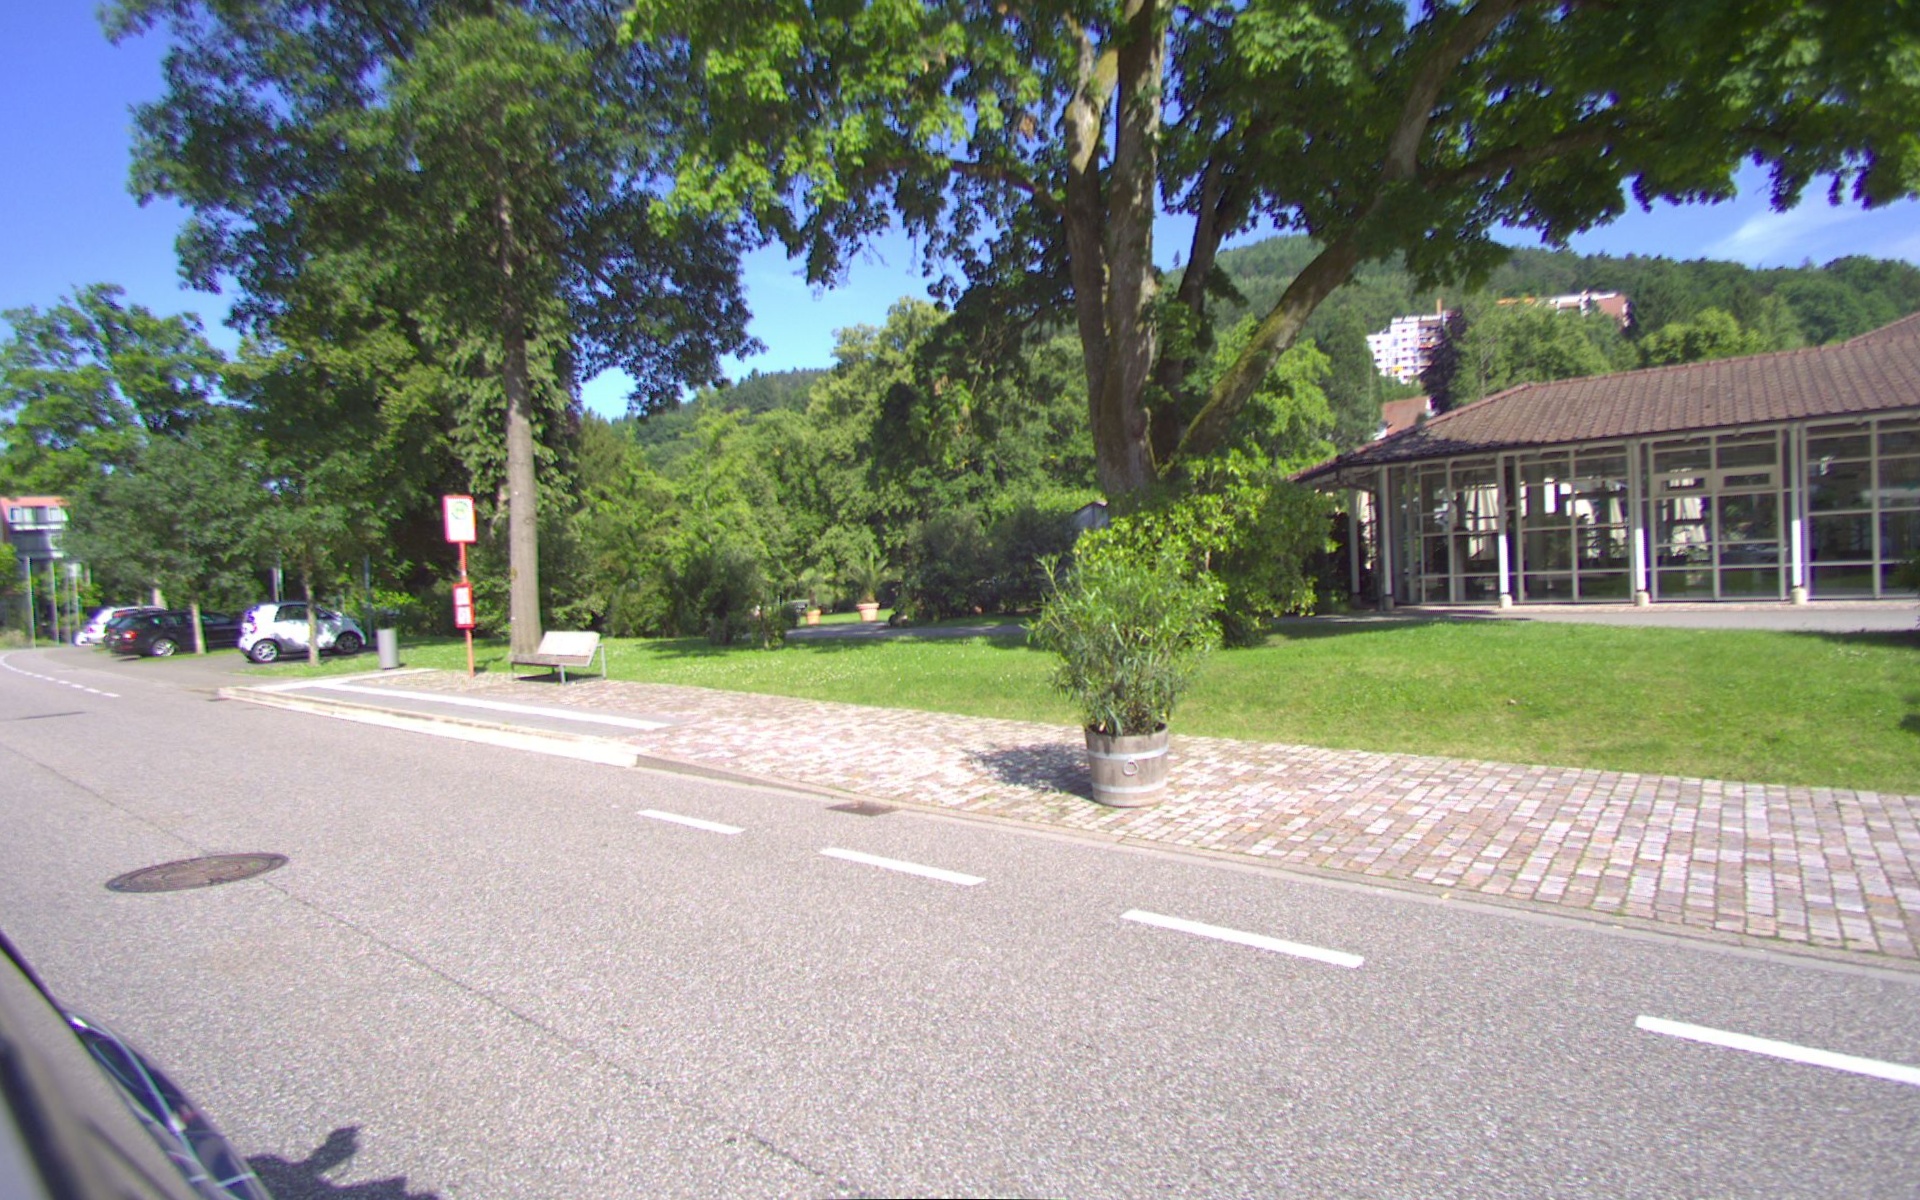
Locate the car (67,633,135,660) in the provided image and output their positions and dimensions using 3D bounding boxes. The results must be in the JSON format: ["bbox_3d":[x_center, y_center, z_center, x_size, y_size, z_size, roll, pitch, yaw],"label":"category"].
[{"bbox_3d":[-61.669,3.329,72.733,1.630,1.481,4.006,-4,2,-6],"label":"car"}]

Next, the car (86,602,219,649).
[{"bbox_3d":[-36.857,1.110,46.269,1.811,1.675,4.434,-1,5,44],"label":"car"}]

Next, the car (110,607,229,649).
[{"bbox_3d":[-34.843,1.190,44.673,3.940,1.443,1.722,-6,4,-42],"label":"car"}]

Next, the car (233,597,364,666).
[{"bbox_3d":[-17.785,0.811,27.252,2.620,1.558,1.684,-6,4,-42],"label":"car"}]

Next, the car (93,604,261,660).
[{"bbox_3d":[-27.877,1.095,36.154,1.712,1.521,4.448,-2,3,41],"label":"car"}]

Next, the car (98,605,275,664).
[{"bbox_3d":[-25.375,1.093,33.347,1.709,1.442,4.240,-2,3,35],"label":"car"}]

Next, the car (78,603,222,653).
[{"bbox_3d":[-33.296,1.118,41.750,4.427,1.427,1.814,-8,5,-37],"label":"car"}]
